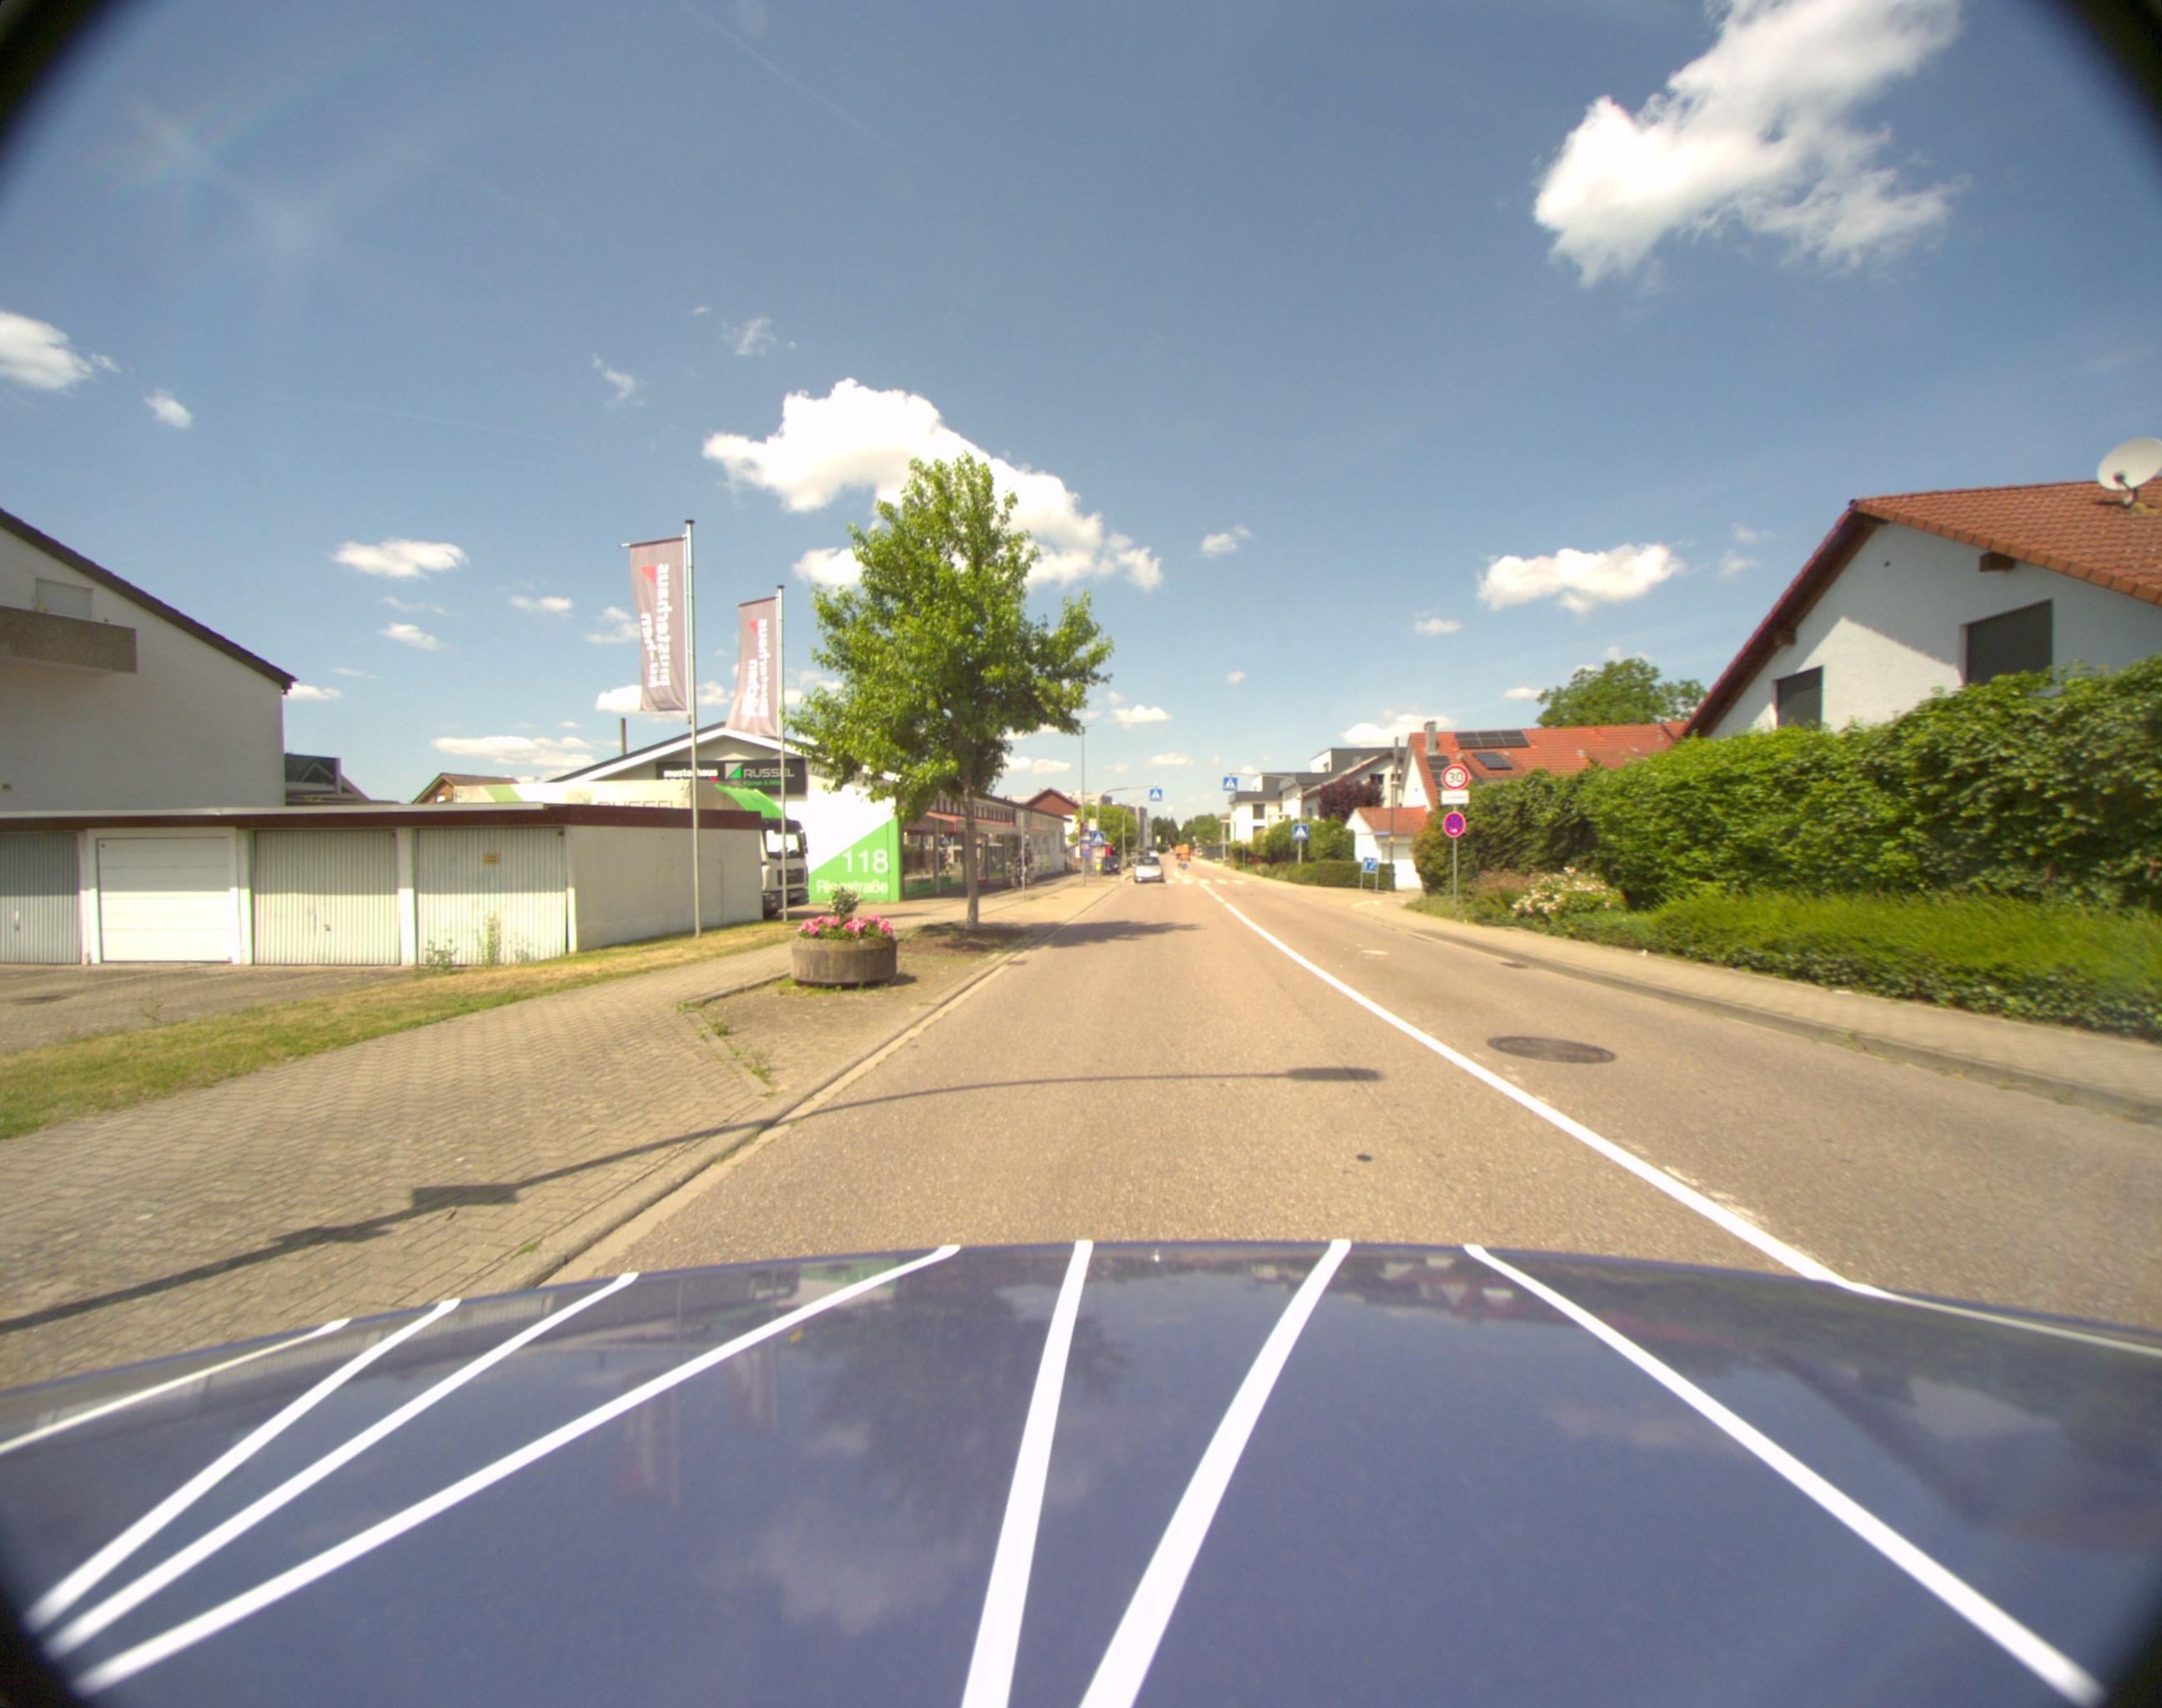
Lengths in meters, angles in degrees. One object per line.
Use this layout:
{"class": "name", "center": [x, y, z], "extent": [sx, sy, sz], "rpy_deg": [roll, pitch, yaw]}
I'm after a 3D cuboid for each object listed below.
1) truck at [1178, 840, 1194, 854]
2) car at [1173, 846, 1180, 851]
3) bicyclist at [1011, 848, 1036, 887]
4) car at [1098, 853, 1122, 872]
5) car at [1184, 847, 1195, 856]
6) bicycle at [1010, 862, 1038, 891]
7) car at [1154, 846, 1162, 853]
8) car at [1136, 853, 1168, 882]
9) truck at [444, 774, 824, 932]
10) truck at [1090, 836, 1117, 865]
{"class": "truck", "center": [20.632, -1.390, 149.386], "extent": [2.863, 2.695, 6.793], "rpy_deg": [1, 1, 6]}
{"class": "car", "center": [27.603, -1.667, 219.241], "extent": [1.727, 1.484, 3.763], "rpy_deg": [1, 1, 13]}
{"class": "bicyclist", "center": [-2.465, 0.582, 32.705], "extent": [0.805, 1.620, 1.112], "rpy_deg": [-3, 0, 6]}
{"class": "car", "center": [2.418, 0.686, 62.541], "extent": [1.728, 1.484, 3.761], "rpy_deg": [1, 1, 6]}
{"class": "car", "center": [18.477, -0.456, 129.401], "extent": [1.798, 1.480, 3.614], "rpy_deg": [1, 1, 6]}
{"class": "bicycle", "center": [-2.453, 0.941, 32.707], "extent": [0.805, 1.158, 1.944], "rpy_deg": [-3, -1, 6]}
{"class": "car", "center": [17.534, -1.082, 172.663], "extent": [1.728, 1.484, 3.761], "rpy_deg": [1, 1, 7]}
{"class": "car", "center": [4.254, 0.768, 45.296], "extent": [1.722, 1.590, 3.761], "rpy_deg": [-3, 0, 6]}
{"class": "truck", "center": [-11.135, -0.017, 19.325], "extent": [8.187, 3.552, 2.678], "rpy_deg": [-1, 2, 6]}
{"class": "truck", "center": [2.260, -0.380, 77.674], "extent": [2.579, 2.745, 6.334], "rpy_deg": [1, 1, 1]}
